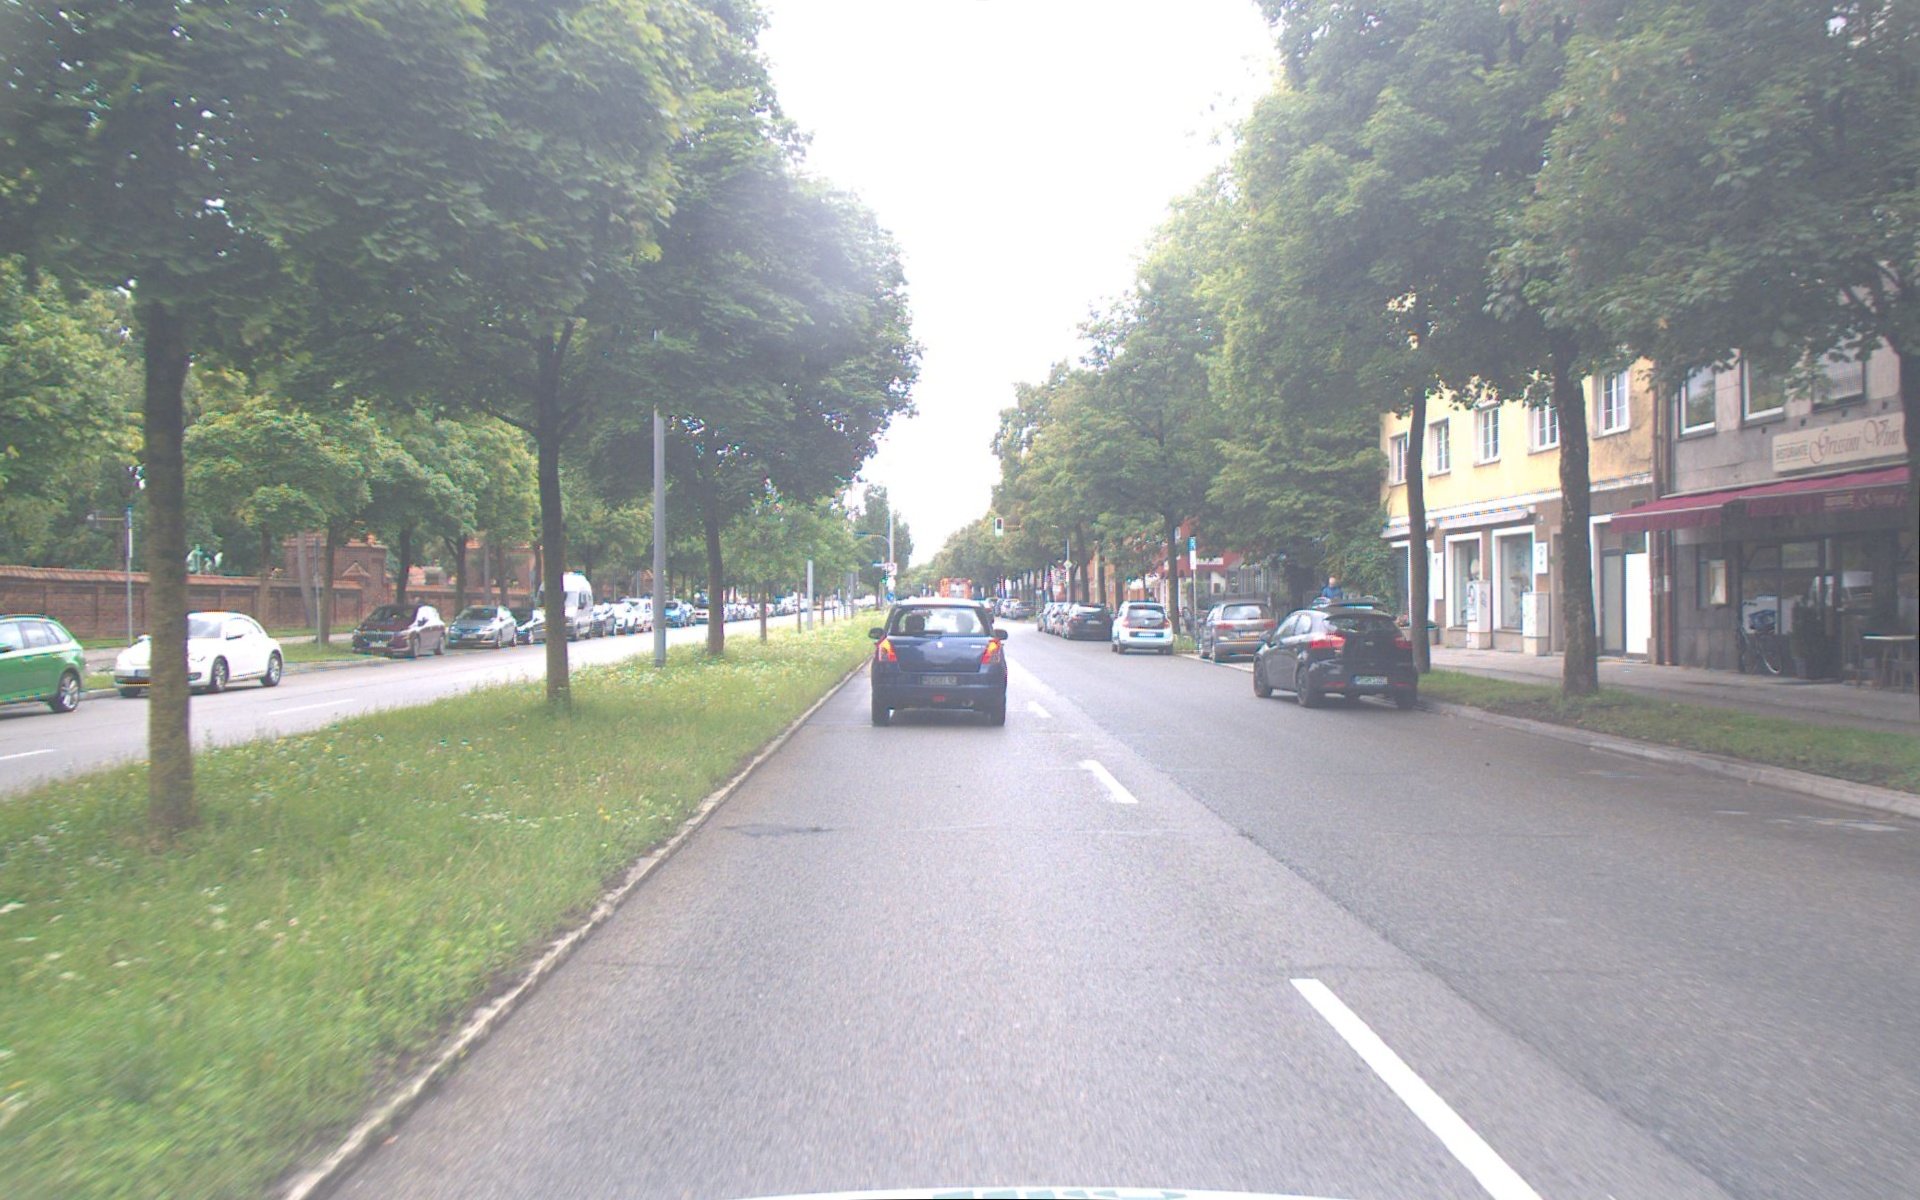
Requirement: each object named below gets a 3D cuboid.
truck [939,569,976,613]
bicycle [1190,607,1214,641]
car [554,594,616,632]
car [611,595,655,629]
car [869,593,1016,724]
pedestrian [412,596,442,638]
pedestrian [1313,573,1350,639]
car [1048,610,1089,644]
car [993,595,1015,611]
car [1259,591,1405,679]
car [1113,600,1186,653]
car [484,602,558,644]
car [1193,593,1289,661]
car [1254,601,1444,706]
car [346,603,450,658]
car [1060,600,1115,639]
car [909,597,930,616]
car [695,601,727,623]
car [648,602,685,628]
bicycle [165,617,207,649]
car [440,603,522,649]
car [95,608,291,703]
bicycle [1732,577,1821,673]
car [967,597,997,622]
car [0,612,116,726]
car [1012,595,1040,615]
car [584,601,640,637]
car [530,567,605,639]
[{"bbox_3d":[-0.246,-0.771,143.510,2.979,3.619,13.673,0,0,0],"label":"truck"},{"bbox_3d":[7.380,0.730,50.426,0.439,0.997,1.798,0,0,-1],"label":"bicycle"},{"bbox_3d":[-17.876,0.584,79.015,2.142,1.766,4.575,0,0,-4],"label":"car"},{"bbox_3d":[-17.735,0.635,89.792,1.672,1.764,3.999,-1,0,-1],"label":"car"},{"bbox_3d":[-0.213,0.678,21.344,1.717,1.531,4.000,0,0,0],"label":"car"},{"bbox_3d":[-20.124,0.640,62.470,0.761,1.594,0.792,0,0,35],"label":"pedestrian"},{"bbox_3d":[10.798,0.174,48.088,0.776,1.888,0.776,-2,0,-4],"label":"pedestrian"},{"bbox_3d":[5.028,1.242,77.194,1.660,1.477,4.123,-1,0,1],"label":"car"},{"bbox_3d":[4.288,0.255,161.520,1.953,1.557,3.999,-1,0,-1],"label":"car"},{"bbox_3d":[7.486,0.661,33.697,1.953,1.671,4.332,0,0,-1],"label":"car"},{"bbox_3d":[5.692,0.774,50.175,1.620,1.477,3.999,-1,0,-2],"label":"car"},{"bbox_3d":[-17.280,0.895,65.249,1.777,1.563,4.817,0,0,-2],"label":"car"},{"bbox_3d":[7.405,0.670,43.979,1.778,1.654,4.307,-2,0,0],"label":"car"},{"bbox_3d":[5.920,0.764,25.661,1.953,1.477,3.999,0,0,-1],"label":"car"},{"bbox_3d":[-16.841,0.872,49.726,1.777,1.563,4.296,0,0,-2],"label":"car"},{"bbox_3d":[5.095,0.761,66.618,1.620,1.477,4.706,-1,0,-3],"label":"car"},{"bbox_3d":[-3.329,0.564,136.873,1.684,1.527,4.299,0,0,-1],"label":"car"},{"bbox_3d":[-18.160,0.878,120.614,1.765,1.561,3.999,-1,0,-1],"label":"car"},{"bbox_3d":[-18.411,0.903,104.026,1.672,1.561,3.999,-1,0,-1],"label":"car"},{"bbox_3d":[-23.971,1.007,51.250,0.642,0.953,1.618,0,0,-4],"label":"bicycle"},{"bbox_3d":[-17.217,0.909,59.626,1.777,1.563,4.439,0,0,-2],"label":"car"},{"bbox_3d":[-14.490,0.996,31.511,1.725,1.564,4.313,-3,0,-1],"label":"car"},{"bbox_3d":[13.155,0.389,26.680,0.568,1.489,1.688,0,0,-1],"label":"bicycle"},{"bbox_3d":[1.412,0.617,108.969,1.784,1.503,4.689,2,0,-1],"label":"car"},{"bbox_3d":[-14.259,1.021,24.195,1.605,1.564,4.313,-3,0,-1],"label":"car"},{"bbox_3d":[5.279,0.372,132.825,1.953,1.557,3.999,-1,0,-1],"label":"car"},{"bbox_3d":[-17.758,0.954,84.547,2.142,1.766,4.575,0,0,-4],"label":"car"},{"bbox_3d":[-17.030,0.114,72.040,2.142,3.005,6.187,0,0,-4],"label":"car"}]
